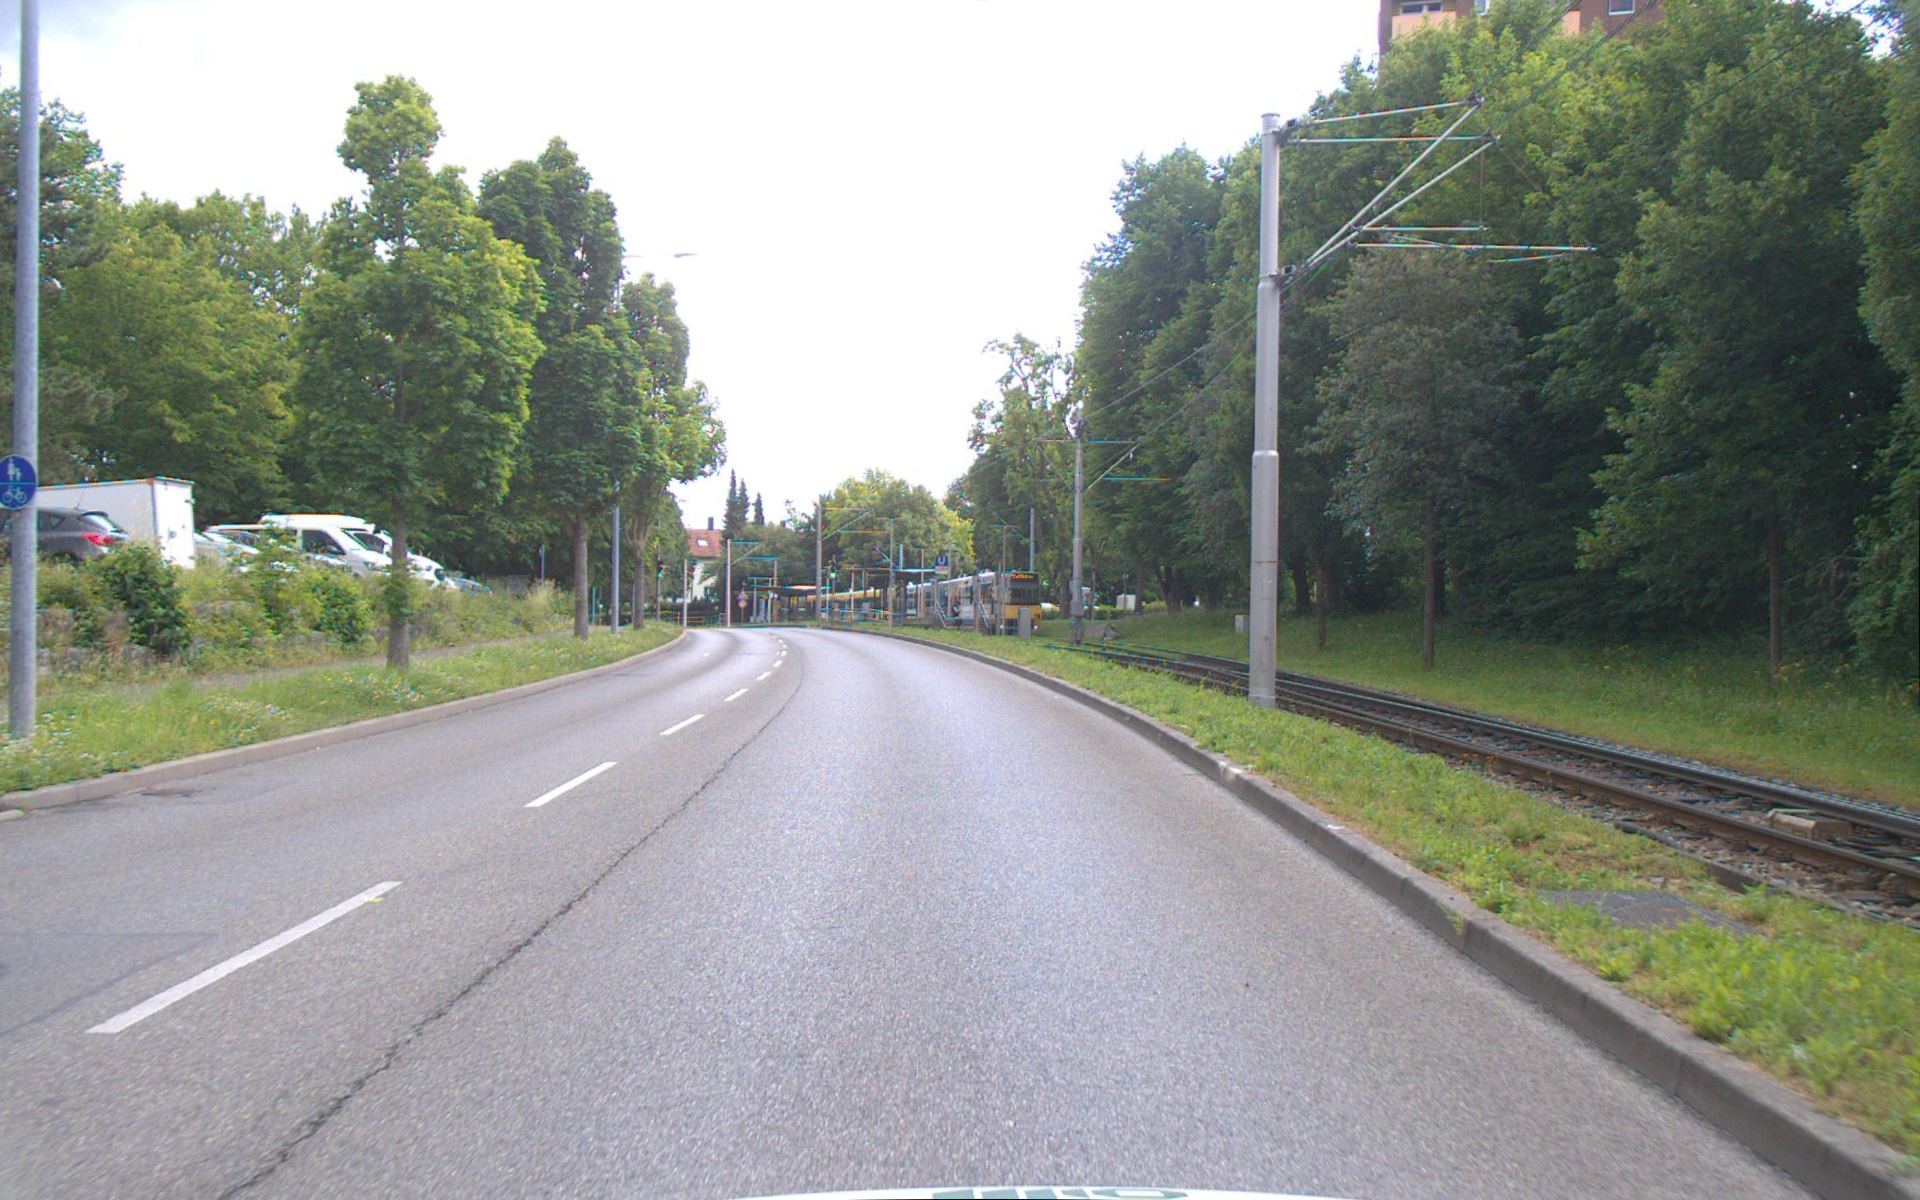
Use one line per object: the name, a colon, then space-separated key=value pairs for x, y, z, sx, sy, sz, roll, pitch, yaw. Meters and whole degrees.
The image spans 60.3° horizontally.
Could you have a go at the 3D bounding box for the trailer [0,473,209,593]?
trailer: x=-15.970 y=-1.192 z=29.872 sx=3.906 sy=2.049 sz=1.907 roll=1 pitch=0 yaw=-2

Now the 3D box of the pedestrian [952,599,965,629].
pedestrian: x=-0.072 y=0.690 z=81.505 sx=0.557 sy=1.490 sz=0.594 roll=1 pitch=0 yaw=-9

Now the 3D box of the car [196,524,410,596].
car: x=-16.525 y=-0.994 z=41.748 sx=4.545 sy=1.685 sz=2.001 roll=1 pitch=0 yaw=3

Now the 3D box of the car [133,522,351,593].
car: x=-16.772 y=-0.976 z=38.805 sx=4.226 sy=1.534 sz=1.998 roll=1 pitch=0 yaw=-5

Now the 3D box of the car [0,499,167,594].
car: x=-15.444 y=-0.835 z=26.859 sx=4.231 sy=1.474 sz=1.833 roll=-1 pitch=0 yaw=-8

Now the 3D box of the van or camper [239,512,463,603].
van or camper: x=-16.232 y=-1.115 z=44.309 sx=5.228 sy=2.241 sz=1.998 roll=1 pitch=0 yaw=-5

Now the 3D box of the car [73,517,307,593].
car: x=-16.788 y=-0.957 z=36.258 sx=4.176 sy=1.534 sz=1.998 roll=1 pitch=0 yaw=-5

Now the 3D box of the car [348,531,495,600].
car: x=-16.682 y=-1.047 z=51.381 sx=3.906 sy=2.049 sz=1.999 roll=1 pitch=0 yaw=-2

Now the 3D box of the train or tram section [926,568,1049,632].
train or tram section: x=1.116 y=-0.088 z=105.380 sx=2.950 sy=3.368 sz=34.656 roll=1 pitch=0 yaw=-7
